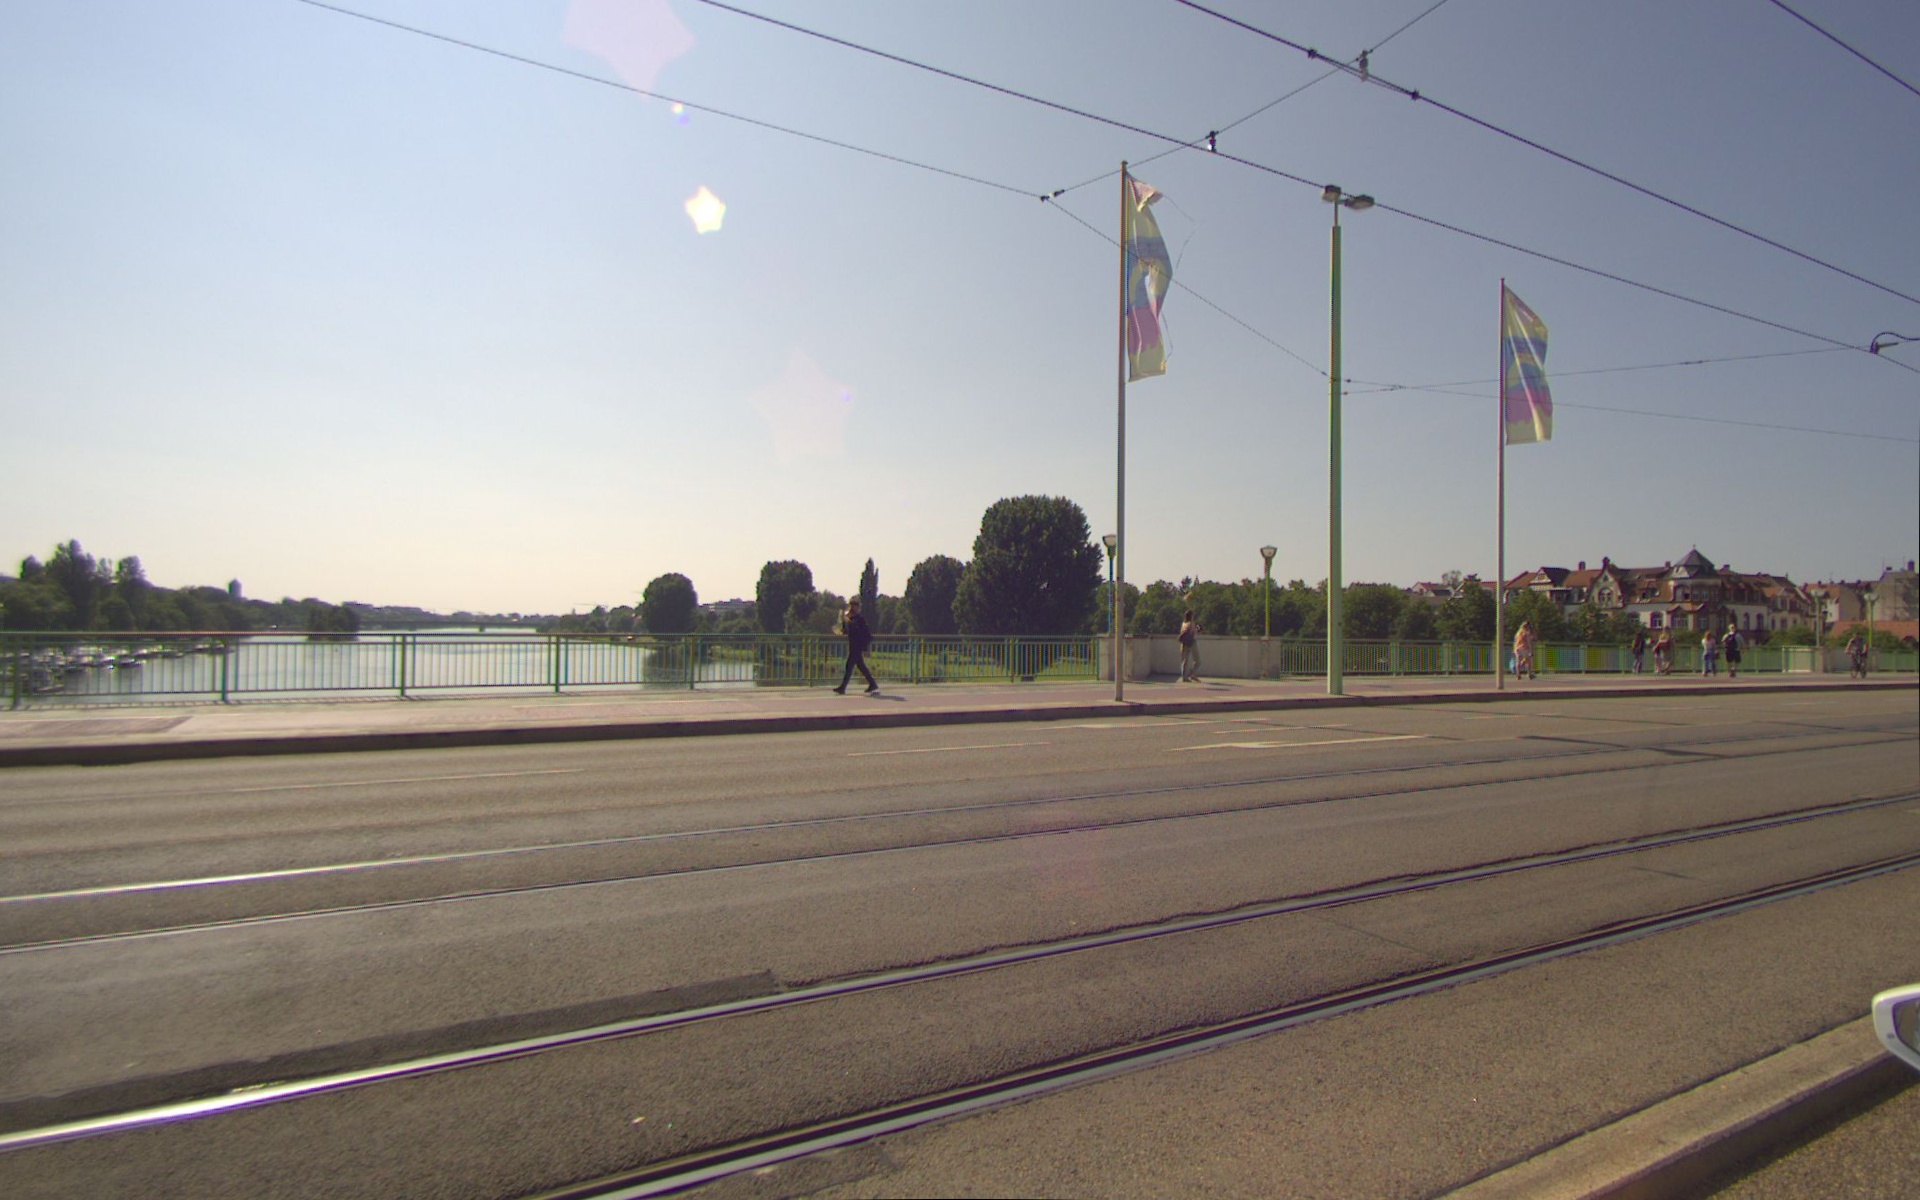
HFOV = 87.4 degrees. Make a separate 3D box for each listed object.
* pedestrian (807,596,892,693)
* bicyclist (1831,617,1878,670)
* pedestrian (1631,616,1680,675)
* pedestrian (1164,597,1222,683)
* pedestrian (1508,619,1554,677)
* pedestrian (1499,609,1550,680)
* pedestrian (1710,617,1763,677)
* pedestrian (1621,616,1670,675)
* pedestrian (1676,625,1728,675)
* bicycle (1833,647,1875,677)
[{"bbox_3d":[-2.137,0.837,19.351,1.280,1.781,1.091,1,-1,-32],"label":"pedestrian"},{"bbox_3d":[34.051,1.643,38.248,1.116,1.987,1.091,1,-1,-31],"label":"bicyclist"},{"bbox_3d":[24.948,1.619,36.039,1.116,2.040,1.091,1,-1,-31],"label":"pedestrian"},{"bbox_3d":[5.675,0.961,24.471,1.030,2.040,0.894,1,-1,-32],"label":"pedestrian"},{"bbox_3d":[17.739,1.486,31.211,1.162,1.745,0.750,2,-1,-32],"label":"pedestrian"},{"bbox_3d":[16.788,1.302,29.867,1.090,2.040,0.962,1,-1,-34],"label":"pedestrian"},{"bbox_3d":[27.073,1.635,35.035,1.280,2.040,1.091,1,-1,-32],"label":"pedestrian"},{"bbox_3d":[24.178,1.586,35.430,1.116,2.040,1.091,1,-1,-31],"label":"pedestrian"},{"bbox_3d":[26.480,1.766,35.856,1.280,1.752,1.091,1,-1,-32],"label":"pedestrian"},{"bbox_3d":[34.090,2.365,38.295,2.089,1.110,0.586,1,-5,-32],"label":"bicycle"}]
